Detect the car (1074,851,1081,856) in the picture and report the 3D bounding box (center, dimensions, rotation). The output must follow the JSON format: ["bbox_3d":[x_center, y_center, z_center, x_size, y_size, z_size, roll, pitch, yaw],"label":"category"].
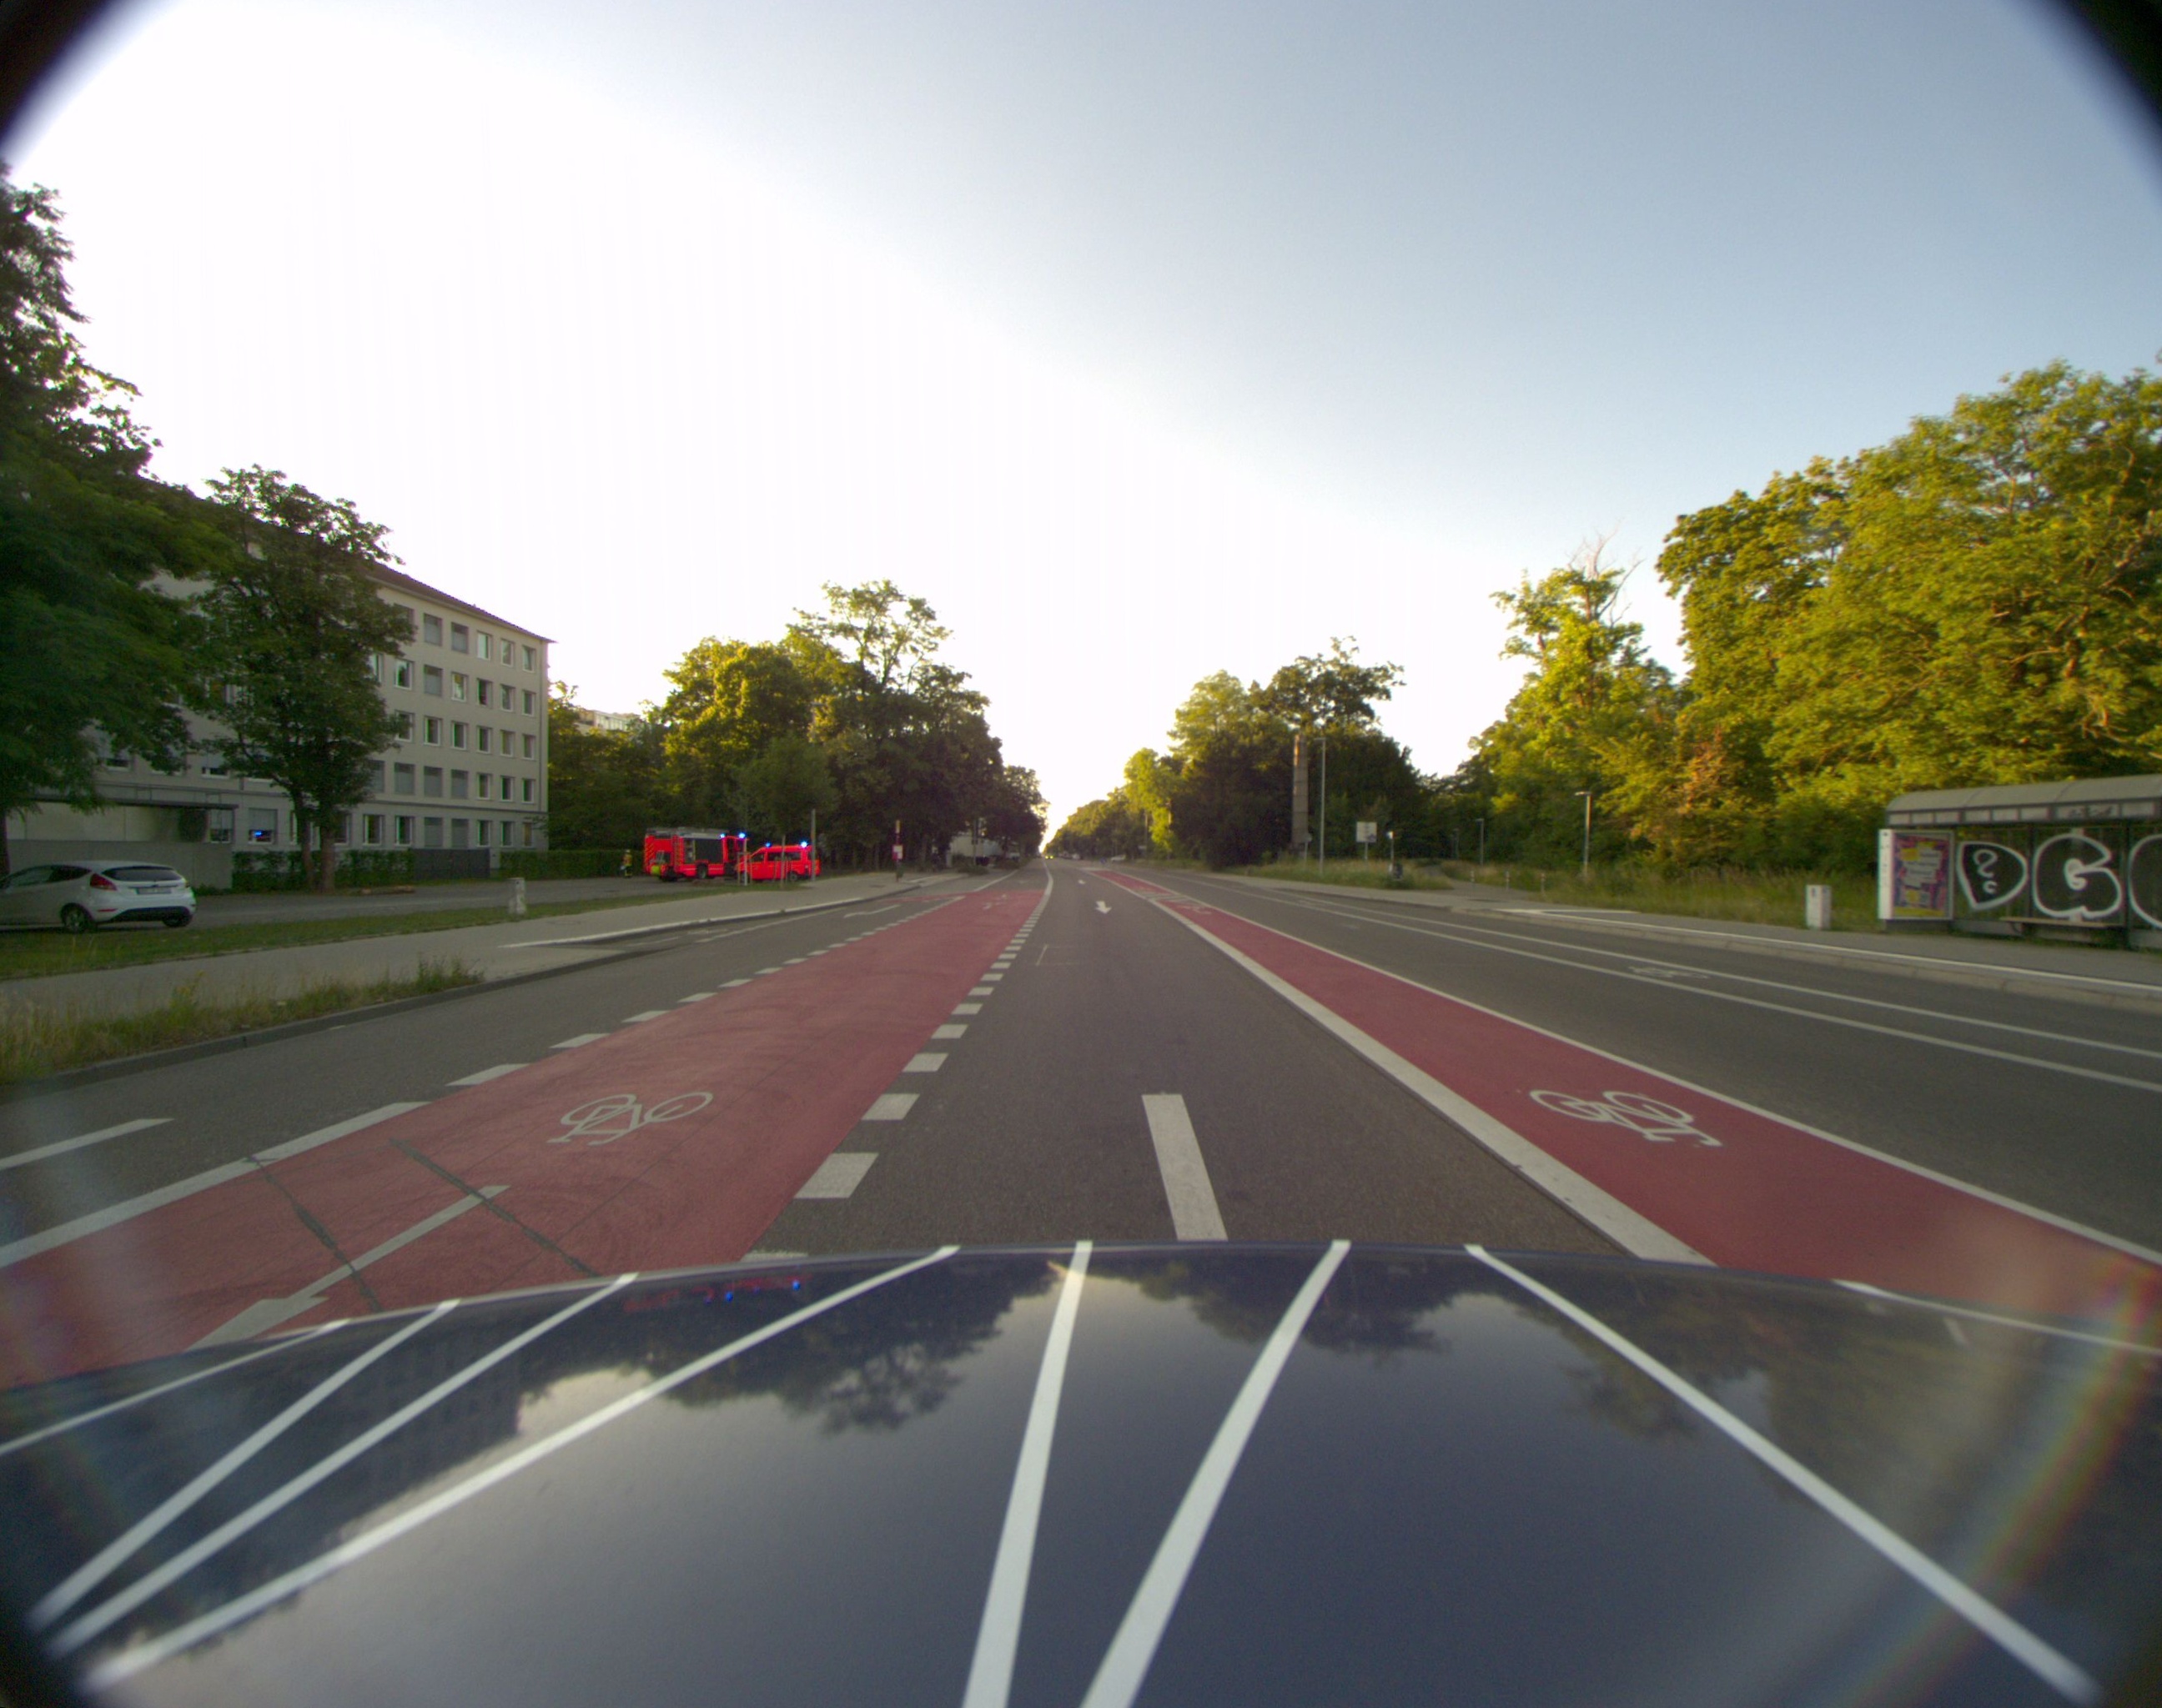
[{"bbox_3d":[-1.050,-0.213,205.759,1.851,1.406,4.180,0,0,0],"label":"car"}]

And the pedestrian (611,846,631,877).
[{"bbox_3d":[-29.917,0.462,49.420,0.772,2.002,0.826,0,1,9],"label":"pedestrian"}]

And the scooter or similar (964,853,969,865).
[{"bbox_3d":[-12.230,0.562,81.406,0.483,1.274,1.230,2,0,-8],"label":"scooter or similar"}]

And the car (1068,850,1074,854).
[{"bbox_3d":[-3.106,-0.612,227.295,1.754,1.299,3.999,1,0,-2],"label":"car"}]

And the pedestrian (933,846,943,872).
[{"bbox_3d":[-11.302,0.409,60.155,0.725,2.002,0.694,0,1,-10],"label":"pedestrian"}]

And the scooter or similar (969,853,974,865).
[{"bbox_3d":[-11.956,0.580,83.154,0.483,1.274,1.139,2,0,-8],"label":"scooter or similar"}]

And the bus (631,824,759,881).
[{"bbox_3d":[-23.711,-0.127,47.276,2.993,3.177,7.968,-1,1,8],"label":"bus"}]

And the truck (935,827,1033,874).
[{"bbox_3d":[-12.583,-0.485,96.422,5.170,5.542,15.041,0,1,-39],"label":"truck"}]

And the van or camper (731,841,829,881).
[{"bbox_3d":[-17.686,0.422,44.783,4.823,2.232,2.295,-1,1,5],"label":"van or camper"}]

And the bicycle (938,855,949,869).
[{"bbox_3d":[-10.956,0.647,60.507,0.833,1.091,1.967,3,0,-11],"label":"bicycle"}]

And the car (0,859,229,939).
[{"bbox_3d":[-20.960,0.906,16.016,3.996,1.528,1.912,-1,1,4],"label":"car"}]

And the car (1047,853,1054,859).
[{"bbox_3d":[-9.126,0.639,225.059,1.999,1.608,3.999,0,0,-1],"label":"car"}]
